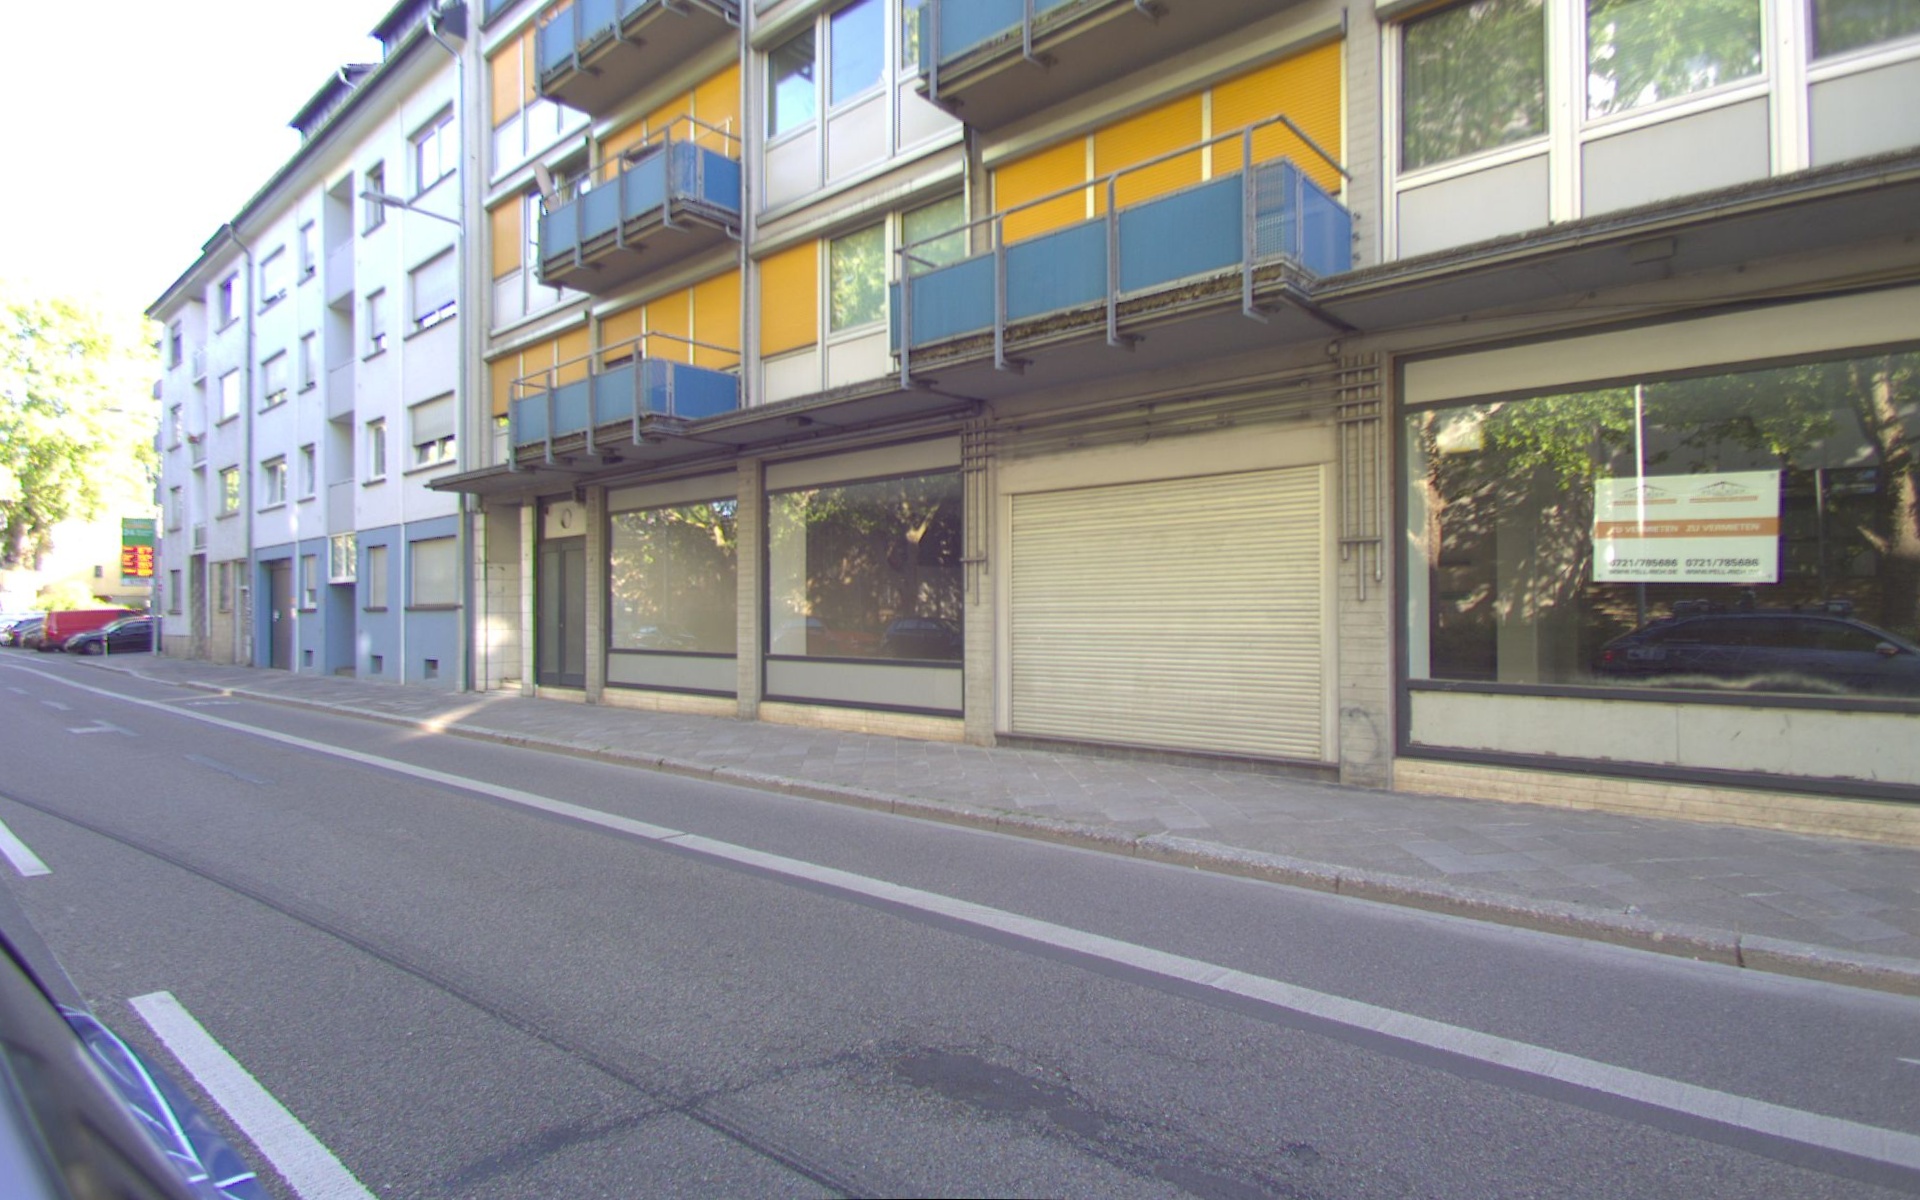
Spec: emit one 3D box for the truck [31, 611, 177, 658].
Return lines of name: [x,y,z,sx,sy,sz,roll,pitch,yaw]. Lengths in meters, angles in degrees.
truck: [-40.356,1.580,47.837,1.998,2.036,5.024,-1,0,40]

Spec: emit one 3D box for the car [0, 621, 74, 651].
car: [-52.889,2.035,57.473,1.656,1.599,3.615,-1,0,35]

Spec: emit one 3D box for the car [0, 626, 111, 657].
car: [-43.395,1.966,48.414,1.904,1.282,3.983,-1,0,39]

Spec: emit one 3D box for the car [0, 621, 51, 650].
car: [-56.894,2.120,60.394,1.740,1.600,3.685,-1,0,35]

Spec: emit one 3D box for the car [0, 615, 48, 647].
car: [-59.748,1.965,63.818,1.693,1.953,3.224,-1,0,43]

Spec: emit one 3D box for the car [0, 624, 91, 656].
car: [-50.826,2.178,55.968,1.699,1.640,3.952,-1,0,35]

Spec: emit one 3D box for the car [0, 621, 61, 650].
car: [-55.074,2.079,59.001,1.715,1.594,3.660,-1,0,35]

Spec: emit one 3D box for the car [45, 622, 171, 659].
car: [-36.854,1.725,43.831,1.780,1.404,3.947,-1,0,39]
